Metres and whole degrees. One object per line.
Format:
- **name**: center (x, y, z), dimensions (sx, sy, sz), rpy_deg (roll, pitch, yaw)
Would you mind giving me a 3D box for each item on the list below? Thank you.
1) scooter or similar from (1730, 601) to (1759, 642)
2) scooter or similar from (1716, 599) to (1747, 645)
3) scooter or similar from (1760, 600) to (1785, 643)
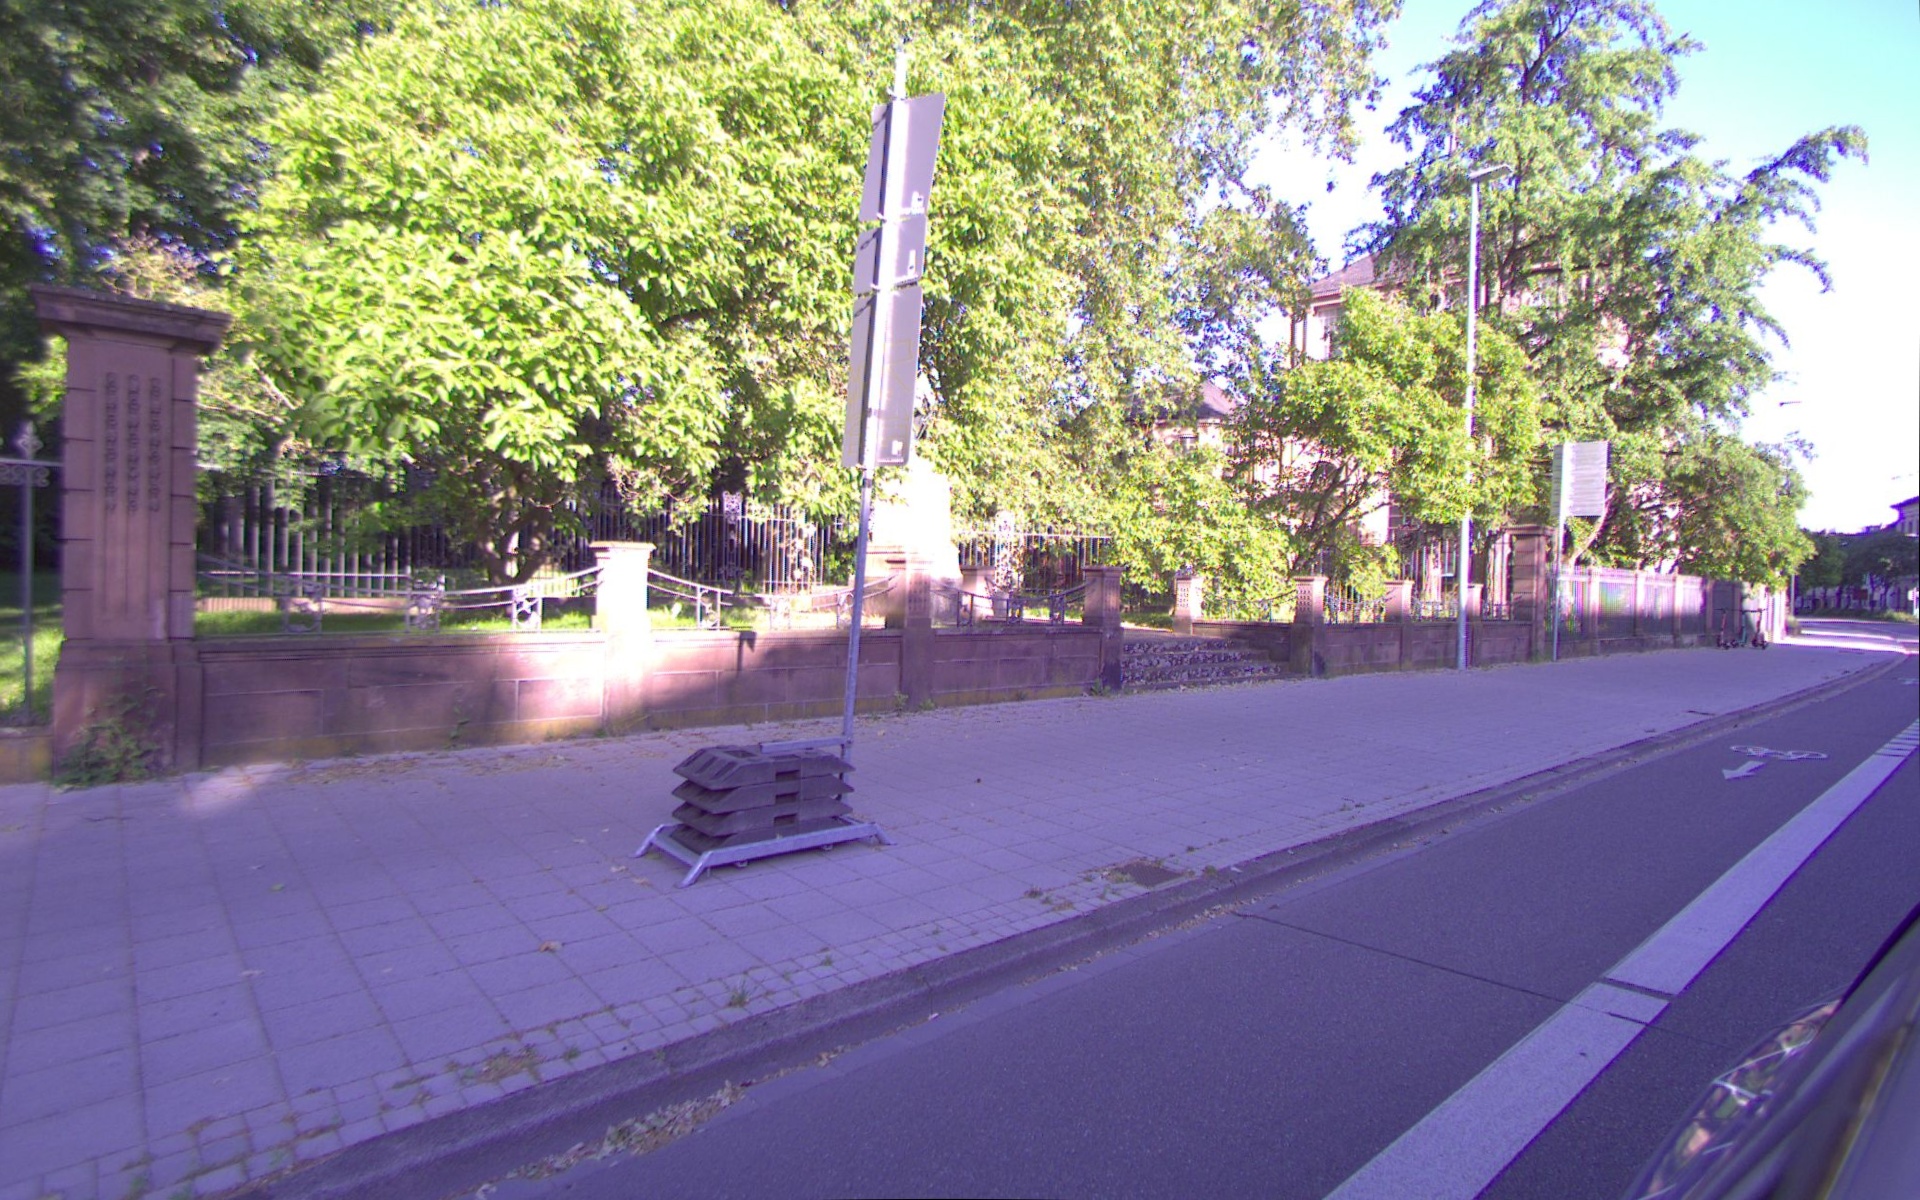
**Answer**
- **scooter or similar**: center (23.604, 0.629, 30.433), dimensions (0.574, 1.199, 1.465), rpy_deg (3, 2, 41)
- **scooter or similar**: center (22.257, 0.613, 29.209), dimensions (0.572, 1.269, 1.470), rpy_deg (2, 2, 33)
- **scooter or similar**: center (24.704, 0.641, 30.782), dimensions (0.514, 1.255, 1.502), rpy_deg (2, 2, 37)
